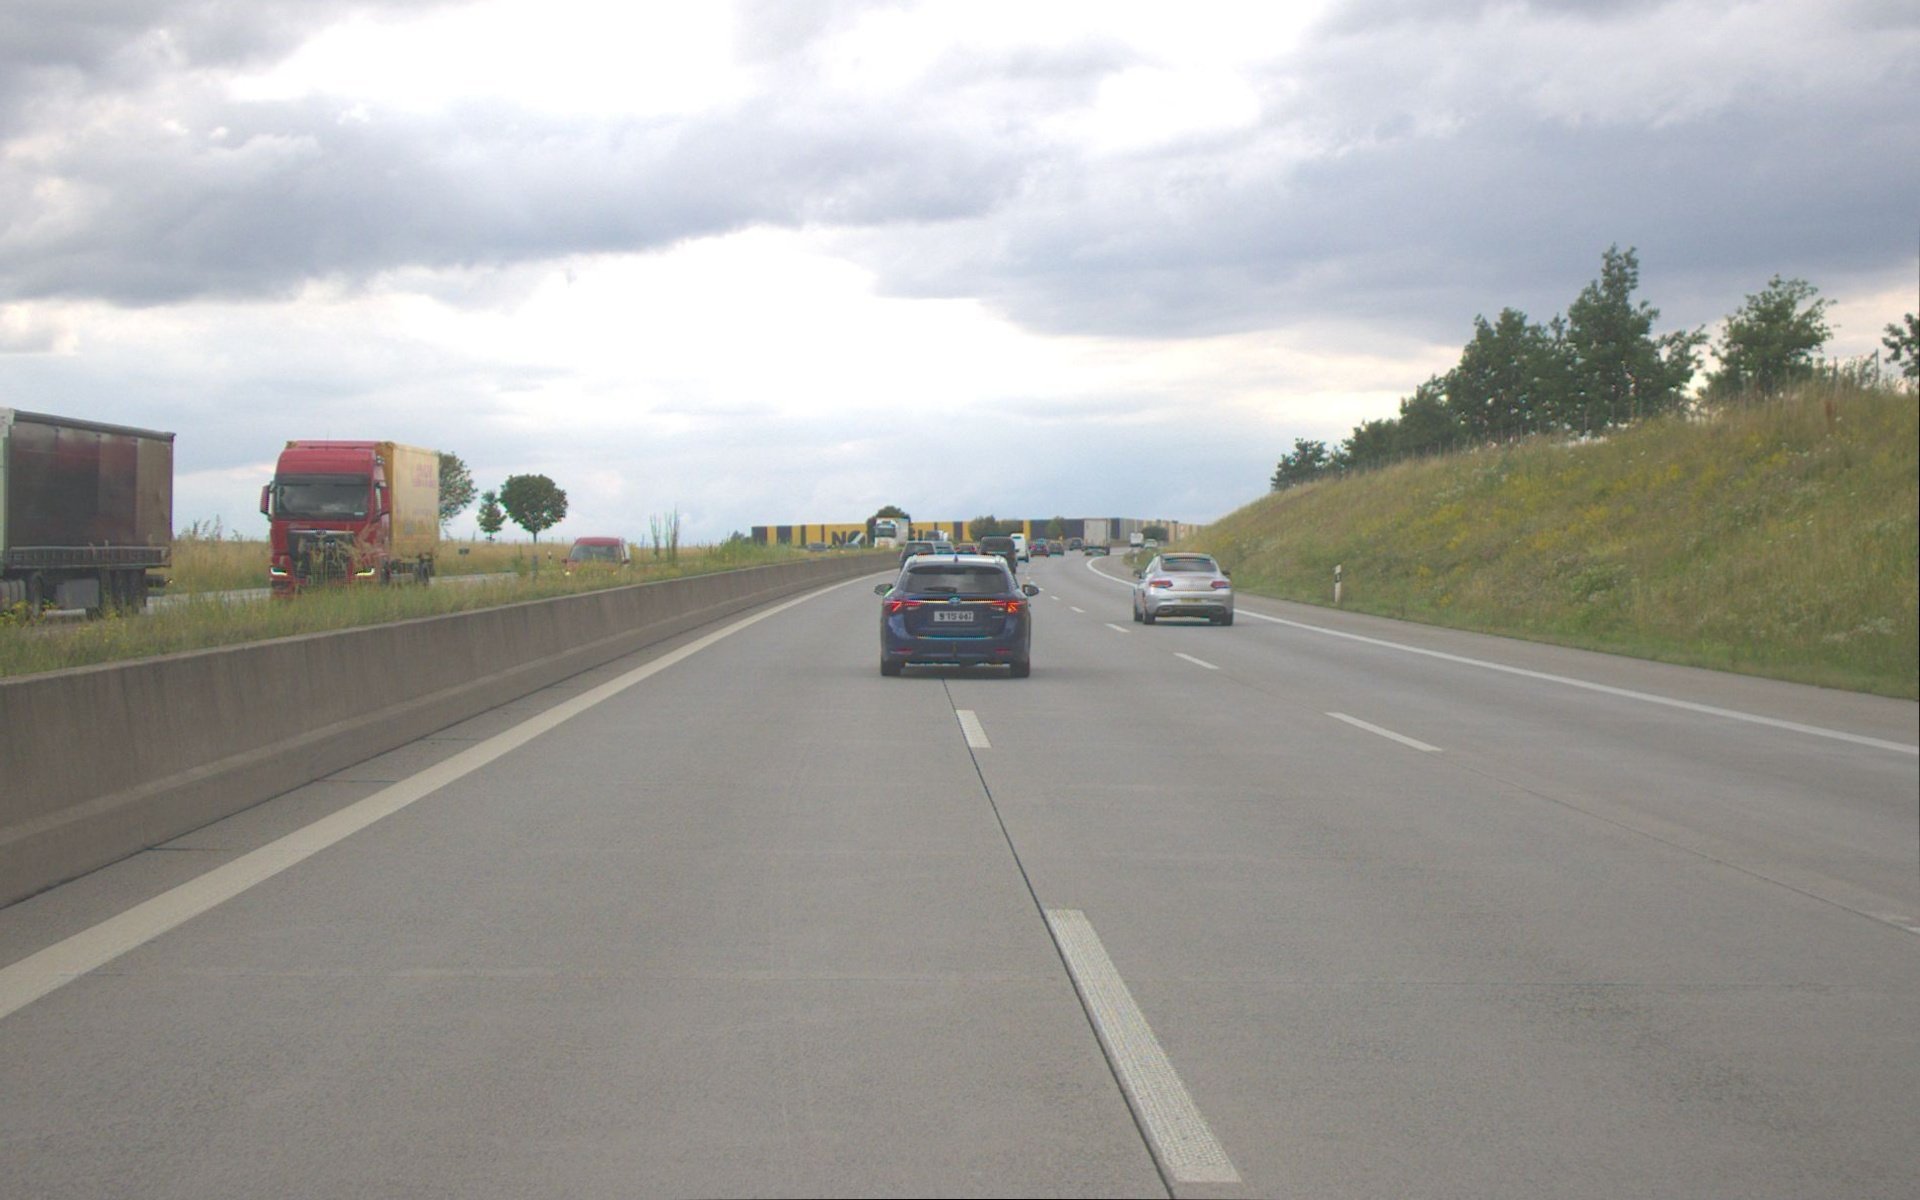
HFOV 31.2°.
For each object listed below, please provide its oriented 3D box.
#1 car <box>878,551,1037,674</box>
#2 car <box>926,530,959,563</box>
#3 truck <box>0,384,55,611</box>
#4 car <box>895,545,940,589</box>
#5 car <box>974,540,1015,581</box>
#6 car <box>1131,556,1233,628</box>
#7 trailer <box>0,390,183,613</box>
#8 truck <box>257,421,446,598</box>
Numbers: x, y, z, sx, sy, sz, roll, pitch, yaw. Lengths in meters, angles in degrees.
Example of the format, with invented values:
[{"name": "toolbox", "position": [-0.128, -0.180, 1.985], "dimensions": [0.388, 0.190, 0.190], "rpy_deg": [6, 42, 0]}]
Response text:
[{"name": "car", "position": [0.015, 0.124, 41.600], "dimensions": [1.775, 1.408, 4.000], "rpy_deg": [0, 1, 2]}, {"name": "car", "position": [-1.099, -3.348, 215.580], "dimensions": [1.993, 2.007, 4.000], "rpy_deg": [1, 0, -1]}, {"name": "truck", "position": [-18.473, -1.844, 62.073], "dimensions": [2.839, 4.024, 5.511], "rpy_deg": [0, 1, -1]}, {"name": "car", "position": [-2.035, -1.563, 163.568], "dimensions": [2.046, 2.007, 4.000], "rpy_deg": [1, 0, -1]}, {"name": "car", "position": [1.737, -1.998, 174.981], "dimensions": [1.993, 2.007, 4.000], "rpy_deg": [1, 0, -1]}, {"name": "car", "position": [4.460, -0.175, 69.580], "dimensions": [1.788, 1.399, 4.221], "rpy_deg": [0, 1, 0]}, {"name": "trailer", "position": [-18.529, -1.927, 69.024], "dimensions": [2.839, 4.024, 13.908], "rpy_deg": [0, 1, -1]}, {"name": "truck", "position": [-14.585, -2.162, 83.183], "dimensions": [2.816, 4.024, 10.569], "rpy_deg": [0, 1, -1]}]
